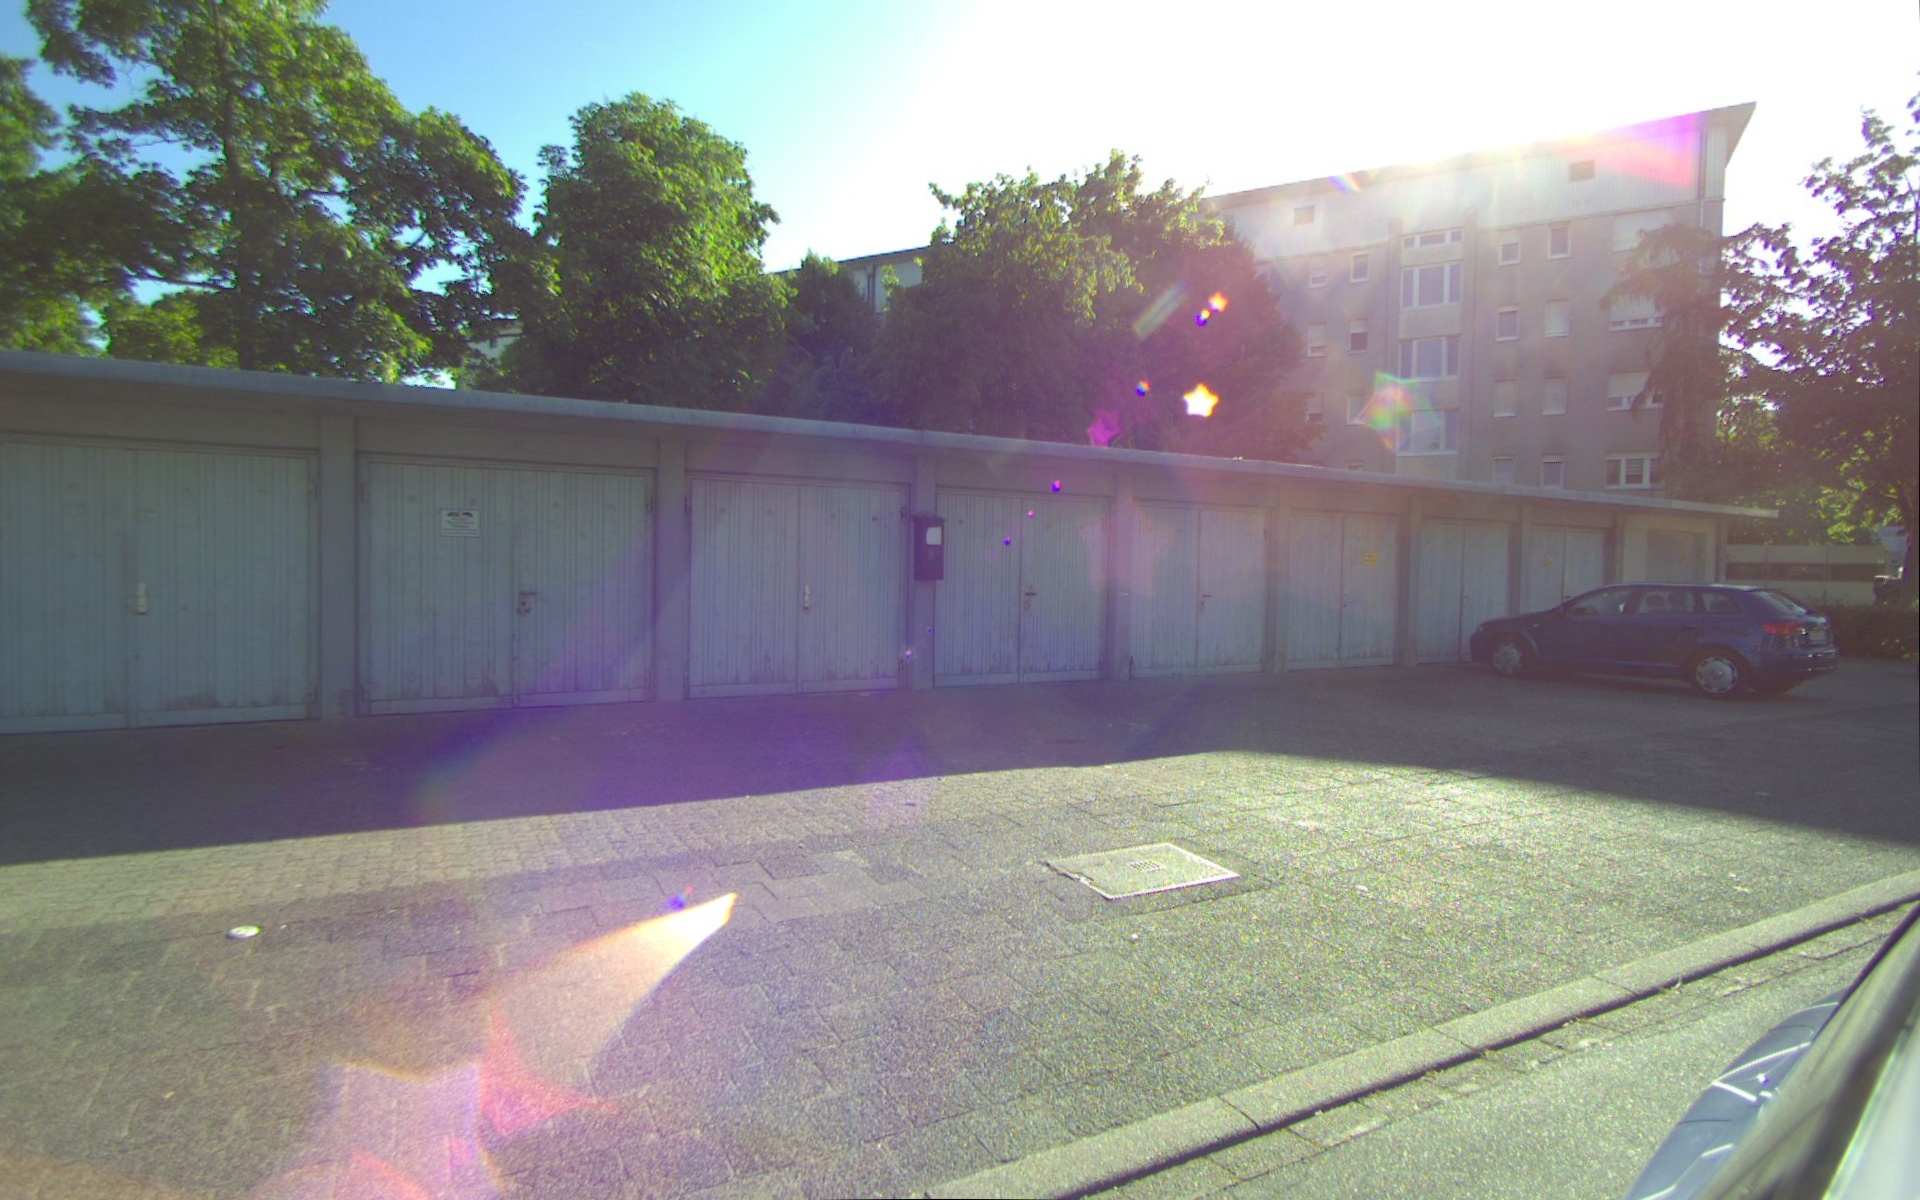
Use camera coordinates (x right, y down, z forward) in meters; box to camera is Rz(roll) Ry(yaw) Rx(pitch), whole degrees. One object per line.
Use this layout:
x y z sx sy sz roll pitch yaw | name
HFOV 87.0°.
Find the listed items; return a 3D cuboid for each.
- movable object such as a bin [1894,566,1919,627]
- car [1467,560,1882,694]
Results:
24.214 -0.085 25.104 1.010 1.499 1.326 0 1 -34 | movable object such as a bin
9.344 0.240 13.623 1.782 1.513 4.200 0 2 -31 | car
